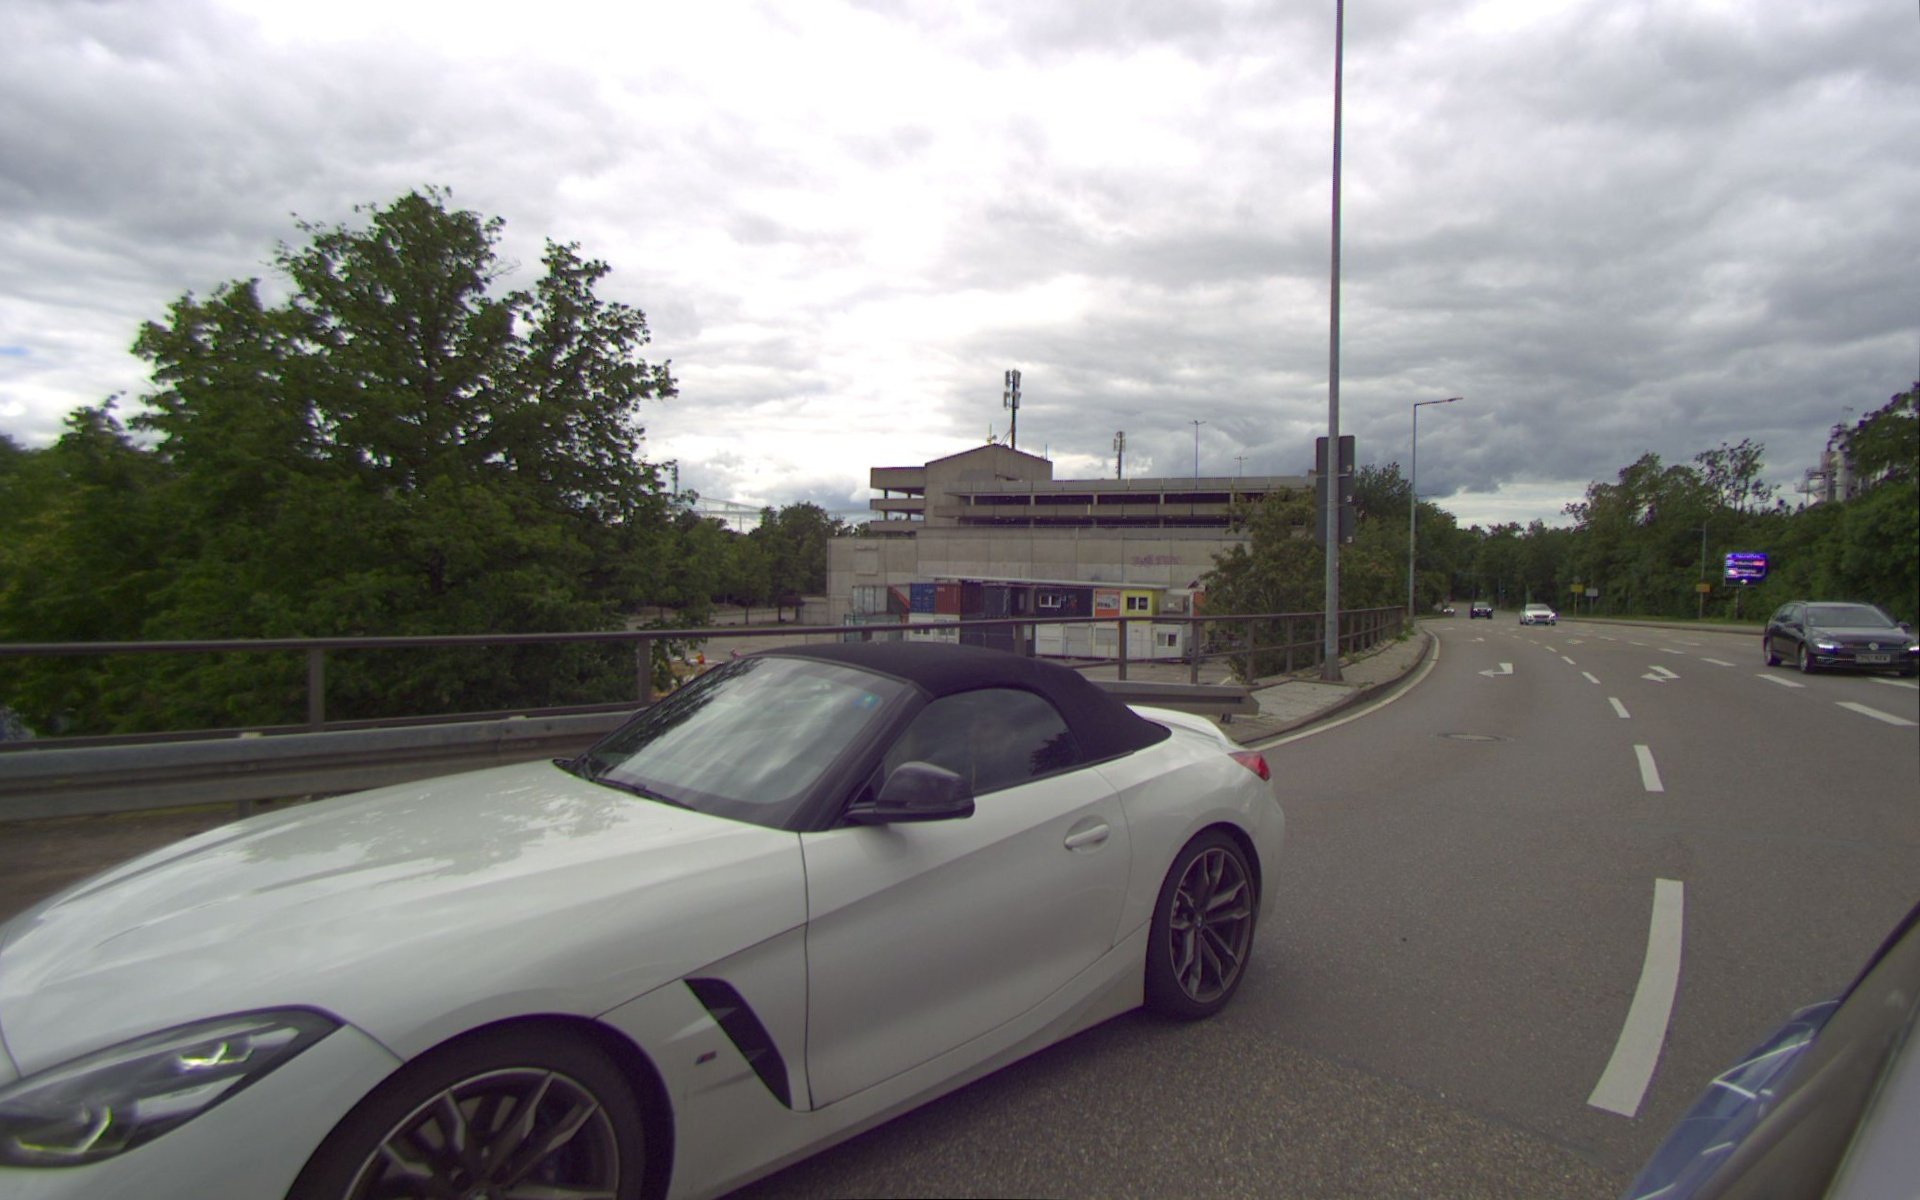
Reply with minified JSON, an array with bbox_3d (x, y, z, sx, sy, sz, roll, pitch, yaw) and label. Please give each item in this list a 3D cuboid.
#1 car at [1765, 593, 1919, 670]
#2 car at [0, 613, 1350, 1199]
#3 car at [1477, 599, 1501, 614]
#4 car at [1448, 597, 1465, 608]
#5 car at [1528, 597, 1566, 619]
[{"bbox_3d":[18.308,0.573,20.871,1.848,1.434,4.297,0,0,27],"label":"car"},{"bbox_3d":[-0.557,0.744,3.366,4.191,1.308,1.807,-1,0,-43],"label":"car"},{"bbox_3d":[54.379,0.633,104.137,1.845,1.434,4.304,0,0,23],"label":"car"},{"bbox_3d":[79.477,0.433,162.043,1.975,1.728,3.972,-3,-2,20],"label":"car"},{"bbox_3d":[39.915,0.492,68.886,1.846,1.434,4.301,0,0,25],"label":"car"}]
